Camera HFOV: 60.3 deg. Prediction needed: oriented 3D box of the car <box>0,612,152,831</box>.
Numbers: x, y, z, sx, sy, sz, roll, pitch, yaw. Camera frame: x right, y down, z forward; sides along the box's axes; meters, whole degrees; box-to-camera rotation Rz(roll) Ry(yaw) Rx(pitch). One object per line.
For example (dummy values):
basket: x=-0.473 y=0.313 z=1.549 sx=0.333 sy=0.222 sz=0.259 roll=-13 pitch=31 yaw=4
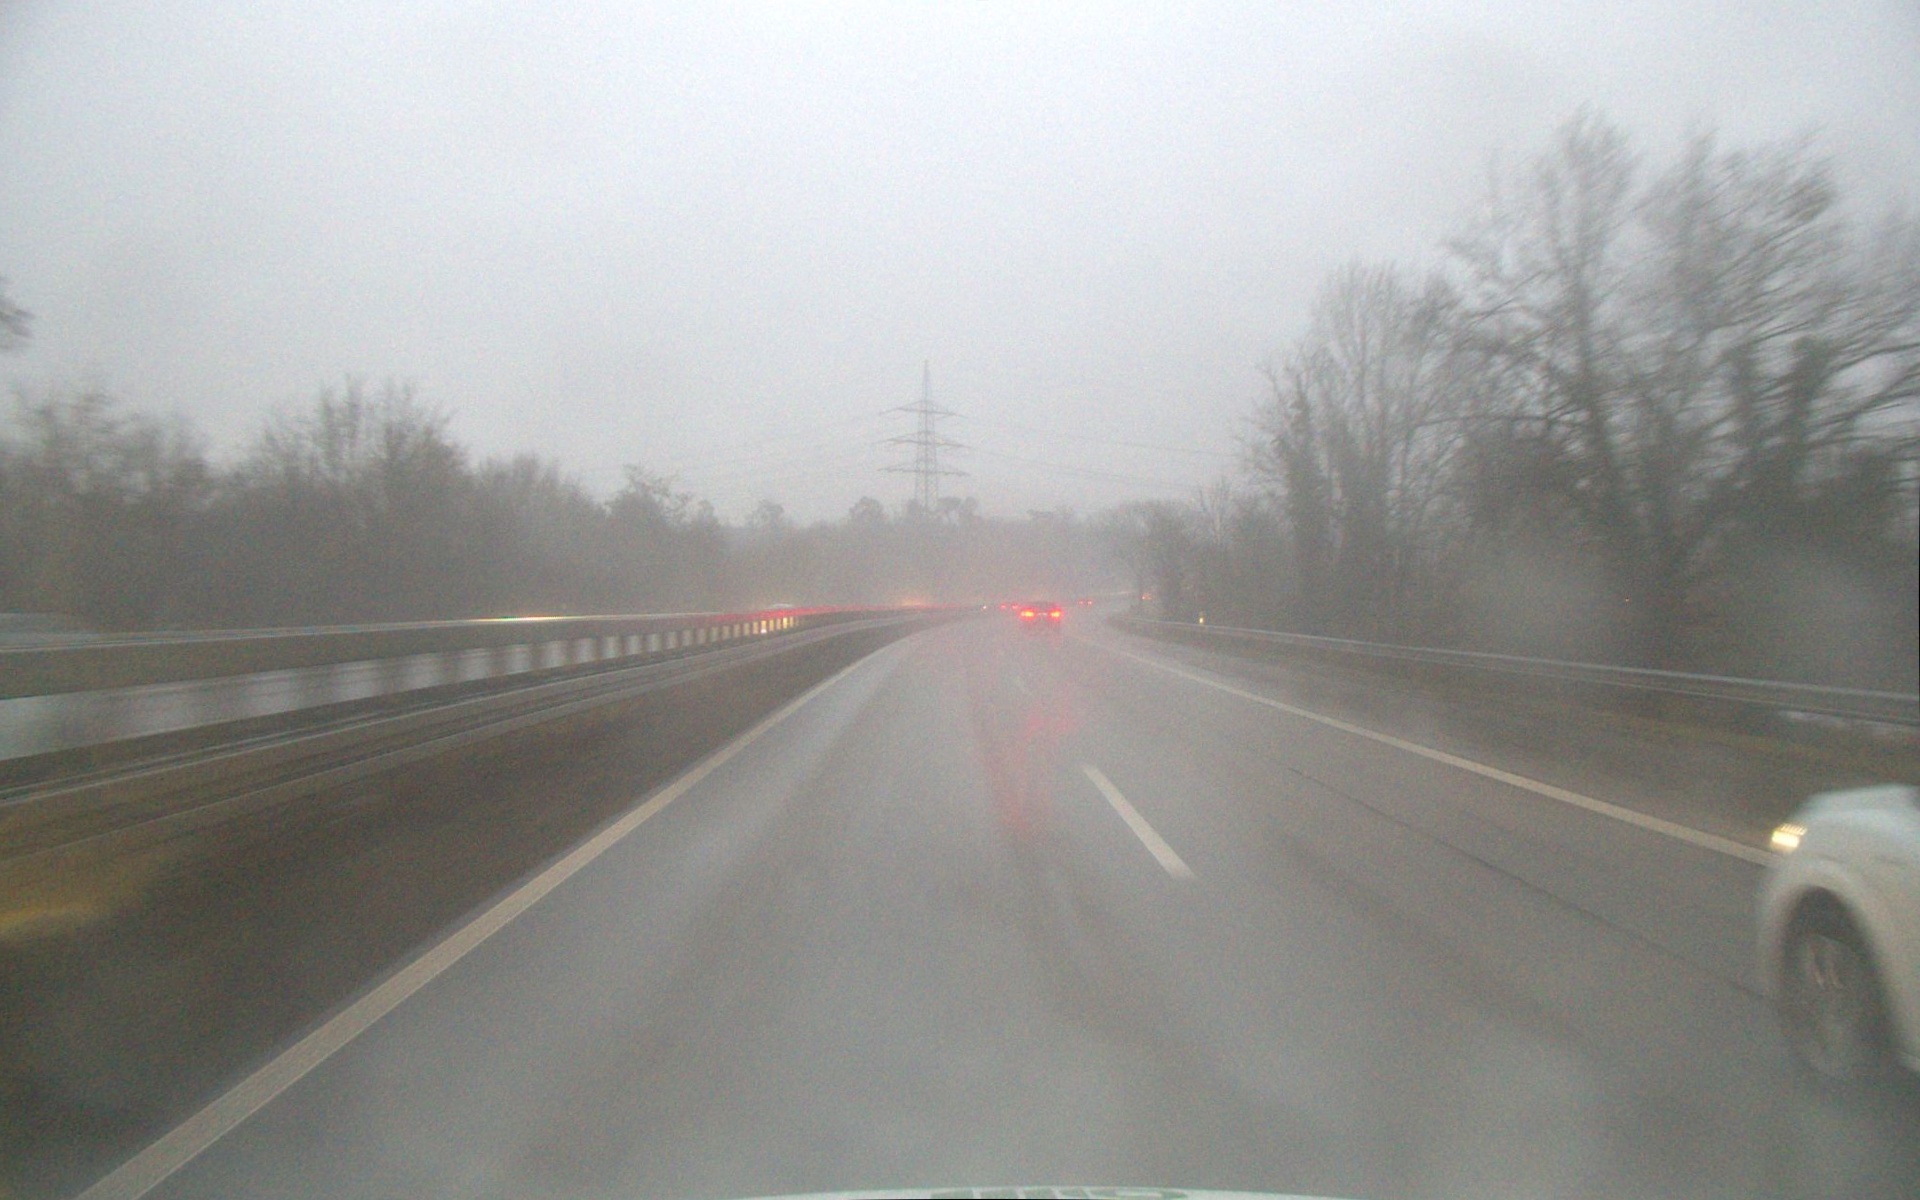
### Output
car: x=-7.447 y=0.851 z=11.563 sx=1.575 sy=1.500 sz=4.176 roll=0 pitch=0 yaw=0

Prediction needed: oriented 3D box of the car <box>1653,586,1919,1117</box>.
car: x=3.670 y=0.730 z=4.554 sx=1.761 sy=1.529 sz=3.999 roll=-1 pitch=1 yaw=-1
